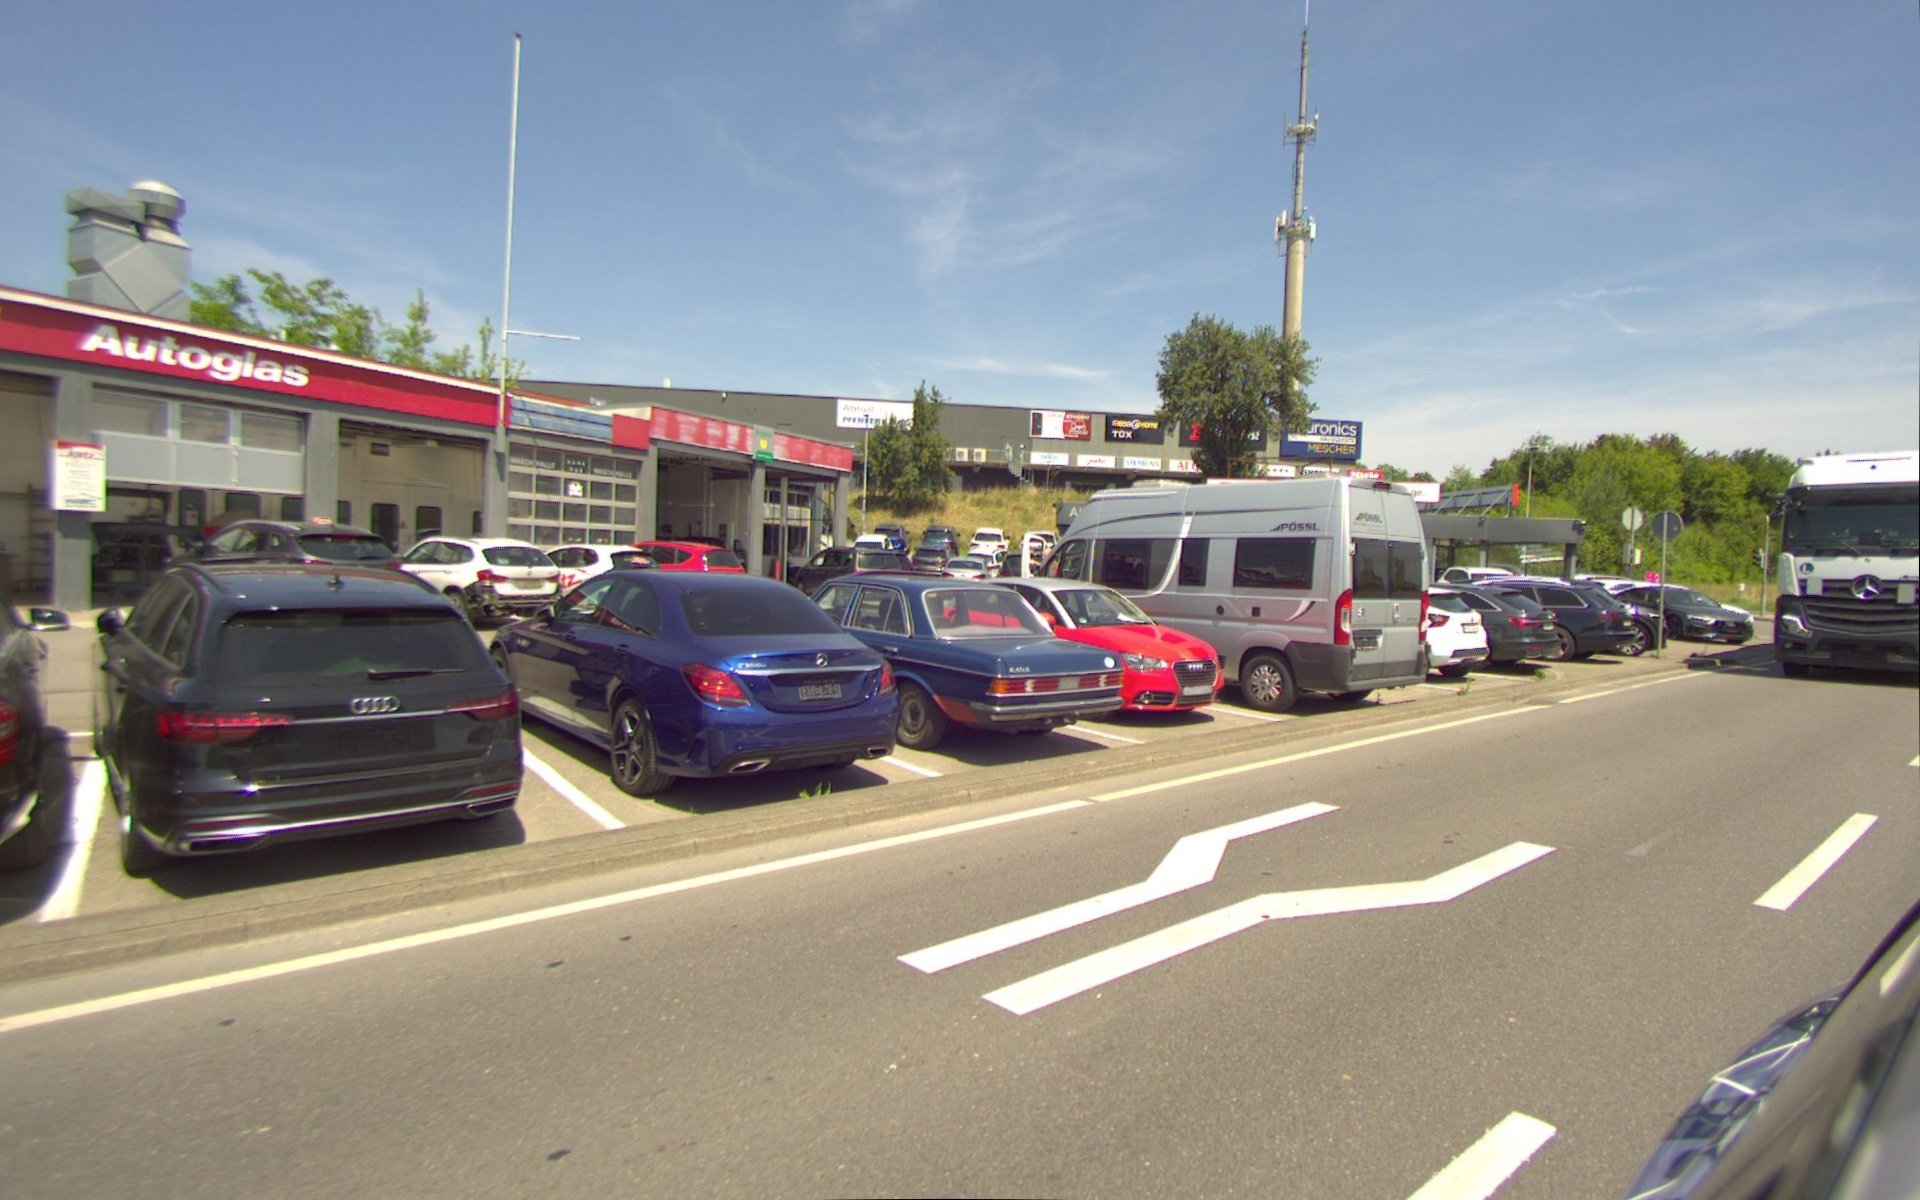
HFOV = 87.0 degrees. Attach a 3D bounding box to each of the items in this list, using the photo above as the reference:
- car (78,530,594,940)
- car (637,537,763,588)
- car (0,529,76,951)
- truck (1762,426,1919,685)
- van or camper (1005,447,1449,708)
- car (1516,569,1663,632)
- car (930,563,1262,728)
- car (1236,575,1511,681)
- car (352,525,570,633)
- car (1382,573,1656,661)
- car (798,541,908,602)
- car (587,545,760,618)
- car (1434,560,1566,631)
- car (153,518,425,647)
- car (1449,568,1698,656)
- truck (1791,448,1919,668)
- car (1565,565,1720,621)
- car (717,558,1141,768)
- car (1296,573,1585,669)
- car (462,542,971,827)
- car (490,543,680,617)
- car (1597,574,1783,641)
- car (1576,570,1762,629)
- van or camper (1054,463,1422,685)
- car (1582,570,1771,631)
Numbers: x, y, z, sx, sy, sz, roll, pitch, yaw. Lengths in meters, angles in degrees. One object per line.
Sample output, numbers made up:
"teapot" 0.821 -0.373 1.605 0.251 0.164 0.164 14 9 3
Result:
"car" -4.060 0.441 6.245 1.946 1.499 4.018 -1 6 -43
"car" -8.883 -1.300 34.545 3.965 1.638 1.895 2 2 29
"car" -5.684 0.470 4.922 1.946 1.499 4.018 -1 6 -43
"truck" 17.021 -0.748 18.367 6.224 4.058 2.976 -1 4 -45
"van or camper" 3.260 -0.334 13.551 2.192 2.764 5.489 0 2 -39
"car" 18.346 -0.051 29.768 1.821 1.436 4.166 2 5 4
"car" 1.436 0.389 11.687 1.725 1.512 3.549 0 3 -40
"car" 6.723 0.359 16.765 1.820 1.518 3.819 0 1 -37
"car" -9.075 -0.436 18.319 3.975 1.593 1.833 5 4 34
"car" 10.916 0.256 19.970 2.047 1.518 4.330 0 2 -44
"car" -3.274 -0.862 30.458 1.648 1.598 3.600 -7 5 -35
"car" -6.535 -0.449 23.081 3.564 1.466 1.664 0 5 27
"car" 15.952 -0.209 30.161 1.821 1.734 4.148 2 5 4
"car" -10.174 -0.327 15.303 3.965 1.708 1.837 3 2 29
"car" 13.221 0.181 22.159 4.289 1.644 2.048 3 2 22
"truck" 22.540 -0.860 23.883 13.893 4.058 2.976 -1 4 -45
"car" 24.672 -0.295 36.753 4.110 1.712 1.879 4 3 11
"car" -0.552 0.402 9.978 1.751 1.537 4.524 0 3 -40
"car" 8.625 0.290 18.439 2.047 1.518 4.330 0 2 -44
"car" -2.176 0.390 8.135 2.127 1.429 4.272 -1 6 -43
"car" -7.671 -0.397 20.696 3.562 1.391 1.663 0 0 26
"car" 20.750 0.143 29.096 1.893 1.403 4.935 2 5 4
"car" 24.094 -0.053 34.564 4.662 1.571 1.996 4 3 9
"van or camper" 4.188 -0.437 16.189 2.192 2.941 5.381 0 2 -39
"car" 22.633 -0.018 32.161 4.416 1.426 1.738 6 3 16
